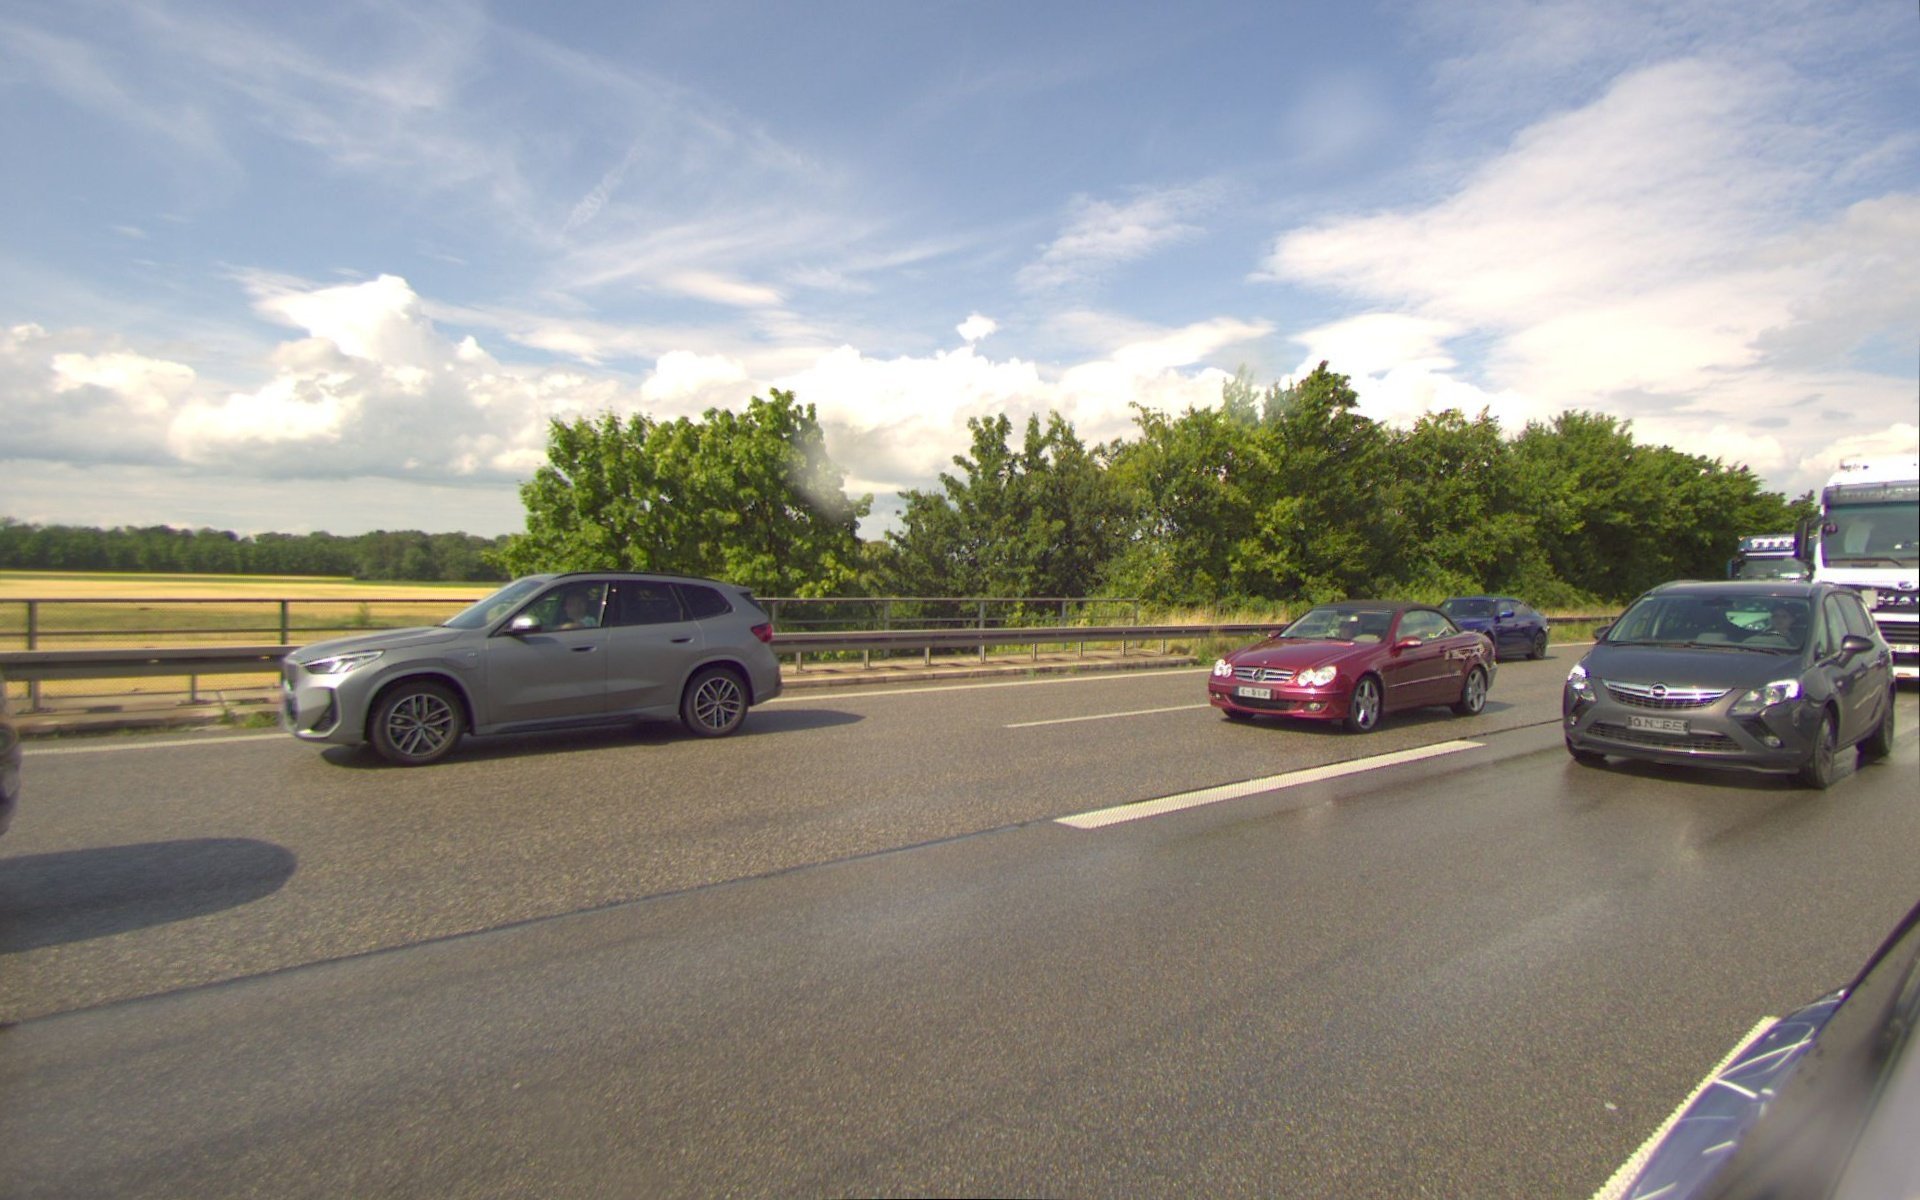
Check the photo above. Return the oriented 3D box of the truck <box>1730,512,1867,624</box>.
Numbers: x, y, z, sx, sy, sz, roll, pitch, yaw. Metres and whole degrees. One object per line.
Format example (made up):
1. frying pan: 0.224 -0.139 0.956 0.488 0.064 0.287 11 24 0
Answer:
1. truck: 32.655 -1.218 39.359 5.763 4.003 3.111 -1 1 -40

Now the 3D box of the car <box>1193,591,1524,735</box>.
1. car: 4.896 0.613 12.138 4.430 1.428 1.756 0 0 -39

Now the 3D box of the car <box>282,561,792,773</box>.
1. car: -3.890 0.487 9.694 4.210 1.606 1.752 -1 0 -39

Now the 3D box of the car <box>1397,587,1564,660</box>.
1. car: 11.797 0.458 22.810 4.426 1.481 1.790 -1 0 -40

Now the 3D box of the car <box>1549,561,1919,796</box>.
1. car: 7.291 0.533 9.313 4.318 1.668 1.883 0 1 -40

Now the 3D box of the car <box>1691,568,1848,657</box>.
1. car: 19.222 0.227 23.939 5.076 1.909 1.954 -1 1 -40

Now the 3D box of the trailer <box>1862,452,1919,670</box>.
1. trailer: 23.080 -0.795 22.340 11.328 4.158 2.790 -1 0 -38

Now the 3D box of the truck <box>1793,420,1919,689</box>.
1. truck: 17.628 -0.731 18.026 7.310 4.158 2.817 0 0 -38

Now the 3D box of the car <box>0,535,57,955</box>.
1. car: -5.983 0.543 3.200 4.570 1.601 1.998 0 1 -40
